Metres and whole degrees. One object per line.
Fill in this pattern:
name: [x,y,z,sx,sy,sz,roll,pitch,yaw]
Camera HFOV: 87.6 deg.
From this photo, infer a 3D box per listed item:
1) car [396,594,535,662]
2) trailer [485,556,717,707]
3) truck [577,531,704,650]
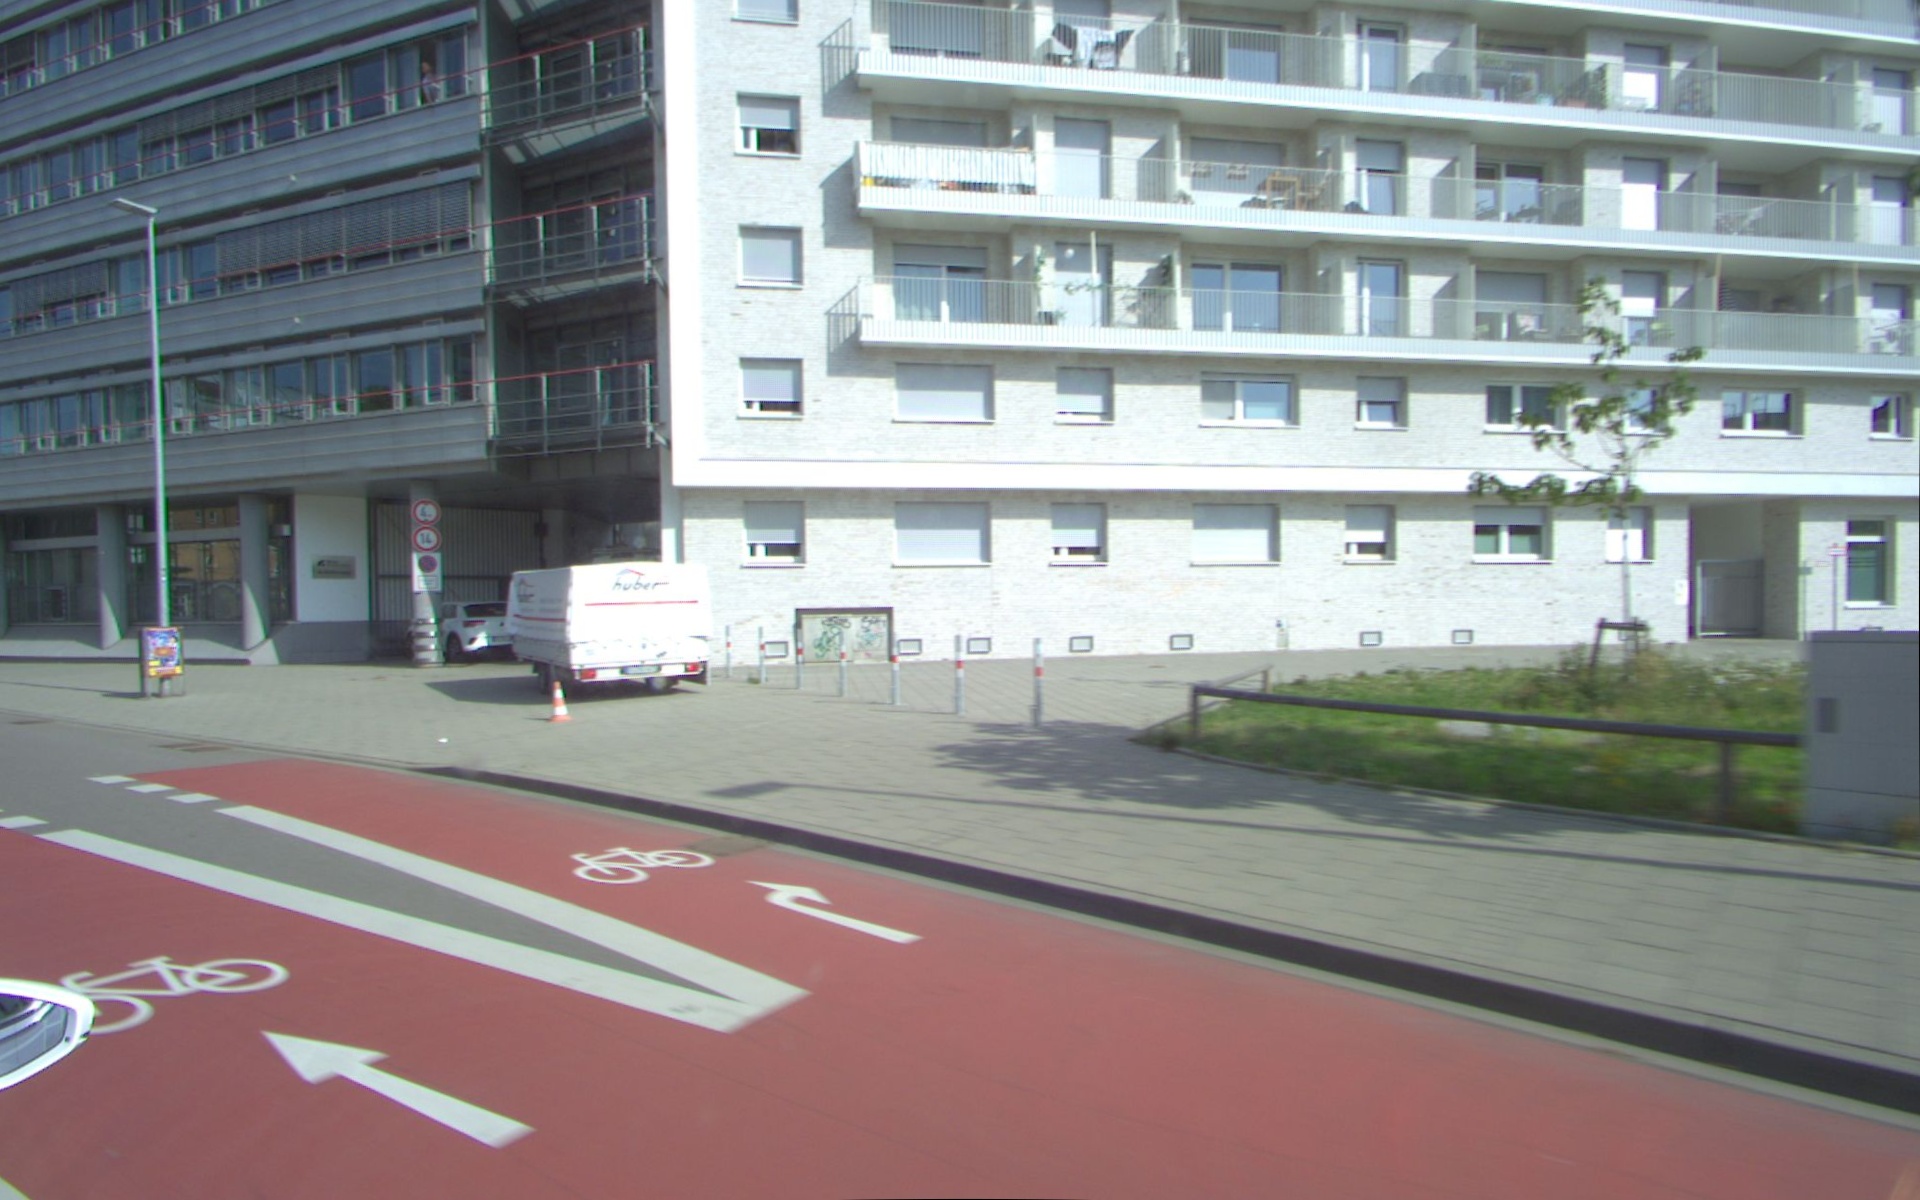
car: [-12.860,0.664,25.971,3.950,1.611,1.737,1,1,39]
trailer: [-6.489,0.460,17.534,2.366,2.180,5.909,-1,0,-35]
truck: [-9.365,-0.412,29.959,1.961,3.141,6.145,-2,3,-3]
